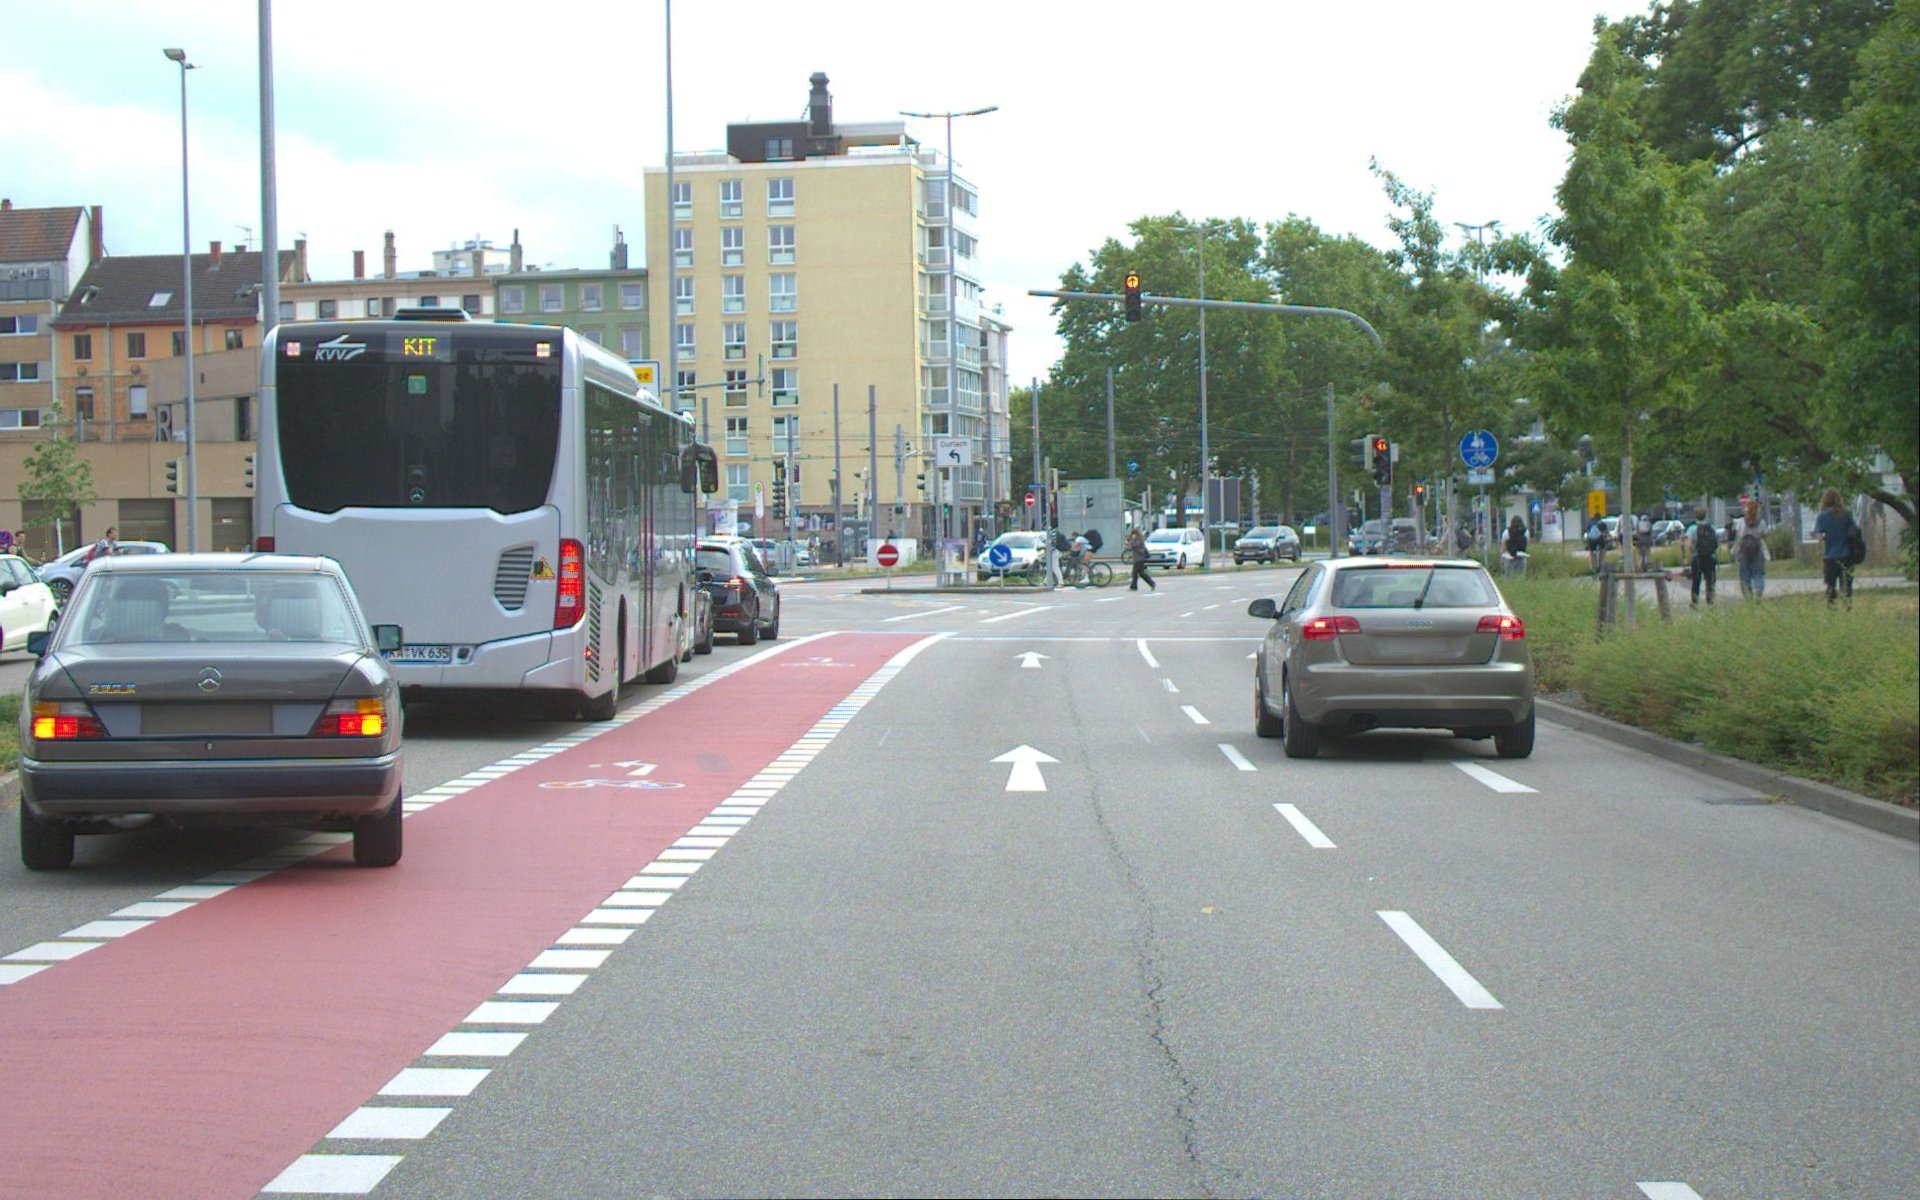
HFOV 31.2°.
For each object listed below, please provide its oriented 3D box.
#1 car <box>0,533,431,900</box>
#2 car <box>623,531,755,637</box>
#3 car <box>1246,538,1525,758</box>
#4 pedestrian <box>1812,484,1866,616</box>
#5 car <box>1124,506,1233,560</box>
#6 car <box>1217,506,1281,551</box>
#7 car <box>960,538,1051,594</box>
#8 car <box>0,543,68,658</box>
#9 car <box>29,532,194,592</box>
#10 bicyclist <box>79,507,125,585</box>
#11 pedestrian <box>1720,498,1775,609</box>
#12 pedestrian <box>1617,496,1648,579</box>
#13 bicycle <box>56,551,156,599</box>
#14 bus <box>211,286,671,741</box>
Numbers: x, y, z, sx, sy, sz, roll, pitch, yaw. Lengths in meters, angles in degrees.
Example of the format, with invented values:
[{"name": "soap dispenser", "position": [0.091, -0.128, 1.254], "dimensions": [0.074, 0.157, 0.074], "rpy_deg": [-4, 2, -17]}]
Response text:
[{"name": "car", "position": [-3.554, 0.439, 16.474], "dimensions": [1.761, 1.484, 4.172], "rpy_deg": [-1, 1, -12]}, {"name": "car", "position": [-3.812, -0.256, 48.800], "dimensions": [1.655, 1.391, 3.860], "rpy_deg": [-1, 1, -2]}, {"name": "car", "position": [3.069, 0.297, 25.417], "dimensions": [1.724, 1.452, 3.736], "rpy_deg": [-1, 1, 2]}, {"name": "pedestrian", "position": [11.491, -0.660, 44.939], "dimensions": [0.647, 1.707, 0.561], "rpy_deg": [-1, 1, 16]}, {"name": "car", "position": [8.853, -2.719, 138.939], "dimensions": [2.586, 2.102, 5.594], "rpy_deg": [0, 1, 24]}, {"name": "car", "position": [12.542, -3.099, 148.934], "dimensions": [1.808, 1.844, 3.997], "rpy_deg": [-1, 1, 19]}, {"name": "car", "position": [1.483, -1.099, 110.178], "dimensions": [1.995, 1.697, 3.998], "rpy_deg": [-1, 1, 14]}, {"name": "car", "position": [-12.583, 0.023, 43.043], "dimensions": [1.670, 1.384, 3.922], "rpy_deg": [-2, 1, 1]}, {"name": "car", "position": [-20.112, -0.912, 81.498], "dimensions": [3.671, 1.389, 1.585], "rpy_deg": [0, 1, -19]}, {"name": "bicyclist", "position": [-18.293, -1.156, 73.324], "dimensions": [0.786, 1.637, 0.614], "rpy_deg": [-1, 1, -1]}, {"name": "pedestrian", "position": [12.301, -0.732, 53.703], "dimensions": [0.802, 1.707, 0.764], "rpy_deg": [-1, 1, 14]}, {"name": "pedestrian", "position": [16.377, -1.531, 83.740], "dimensions": [0.614, 2.007, 0.597], "rpy_deg": [-1, 1, 0]}, {"name": "bicycle", "position": [-18.215, -0.531, 73.341], "dimensions": [1.964, 0.978, 0.631], "rpy_deg": [-1, 1, -1]}, {"name": "bus", "position": [-4.240, -0.754, 29.942], "dimensions": [2.831, 3.378, 8.183], "rpy_deg": [-1, 1, -1]}]
